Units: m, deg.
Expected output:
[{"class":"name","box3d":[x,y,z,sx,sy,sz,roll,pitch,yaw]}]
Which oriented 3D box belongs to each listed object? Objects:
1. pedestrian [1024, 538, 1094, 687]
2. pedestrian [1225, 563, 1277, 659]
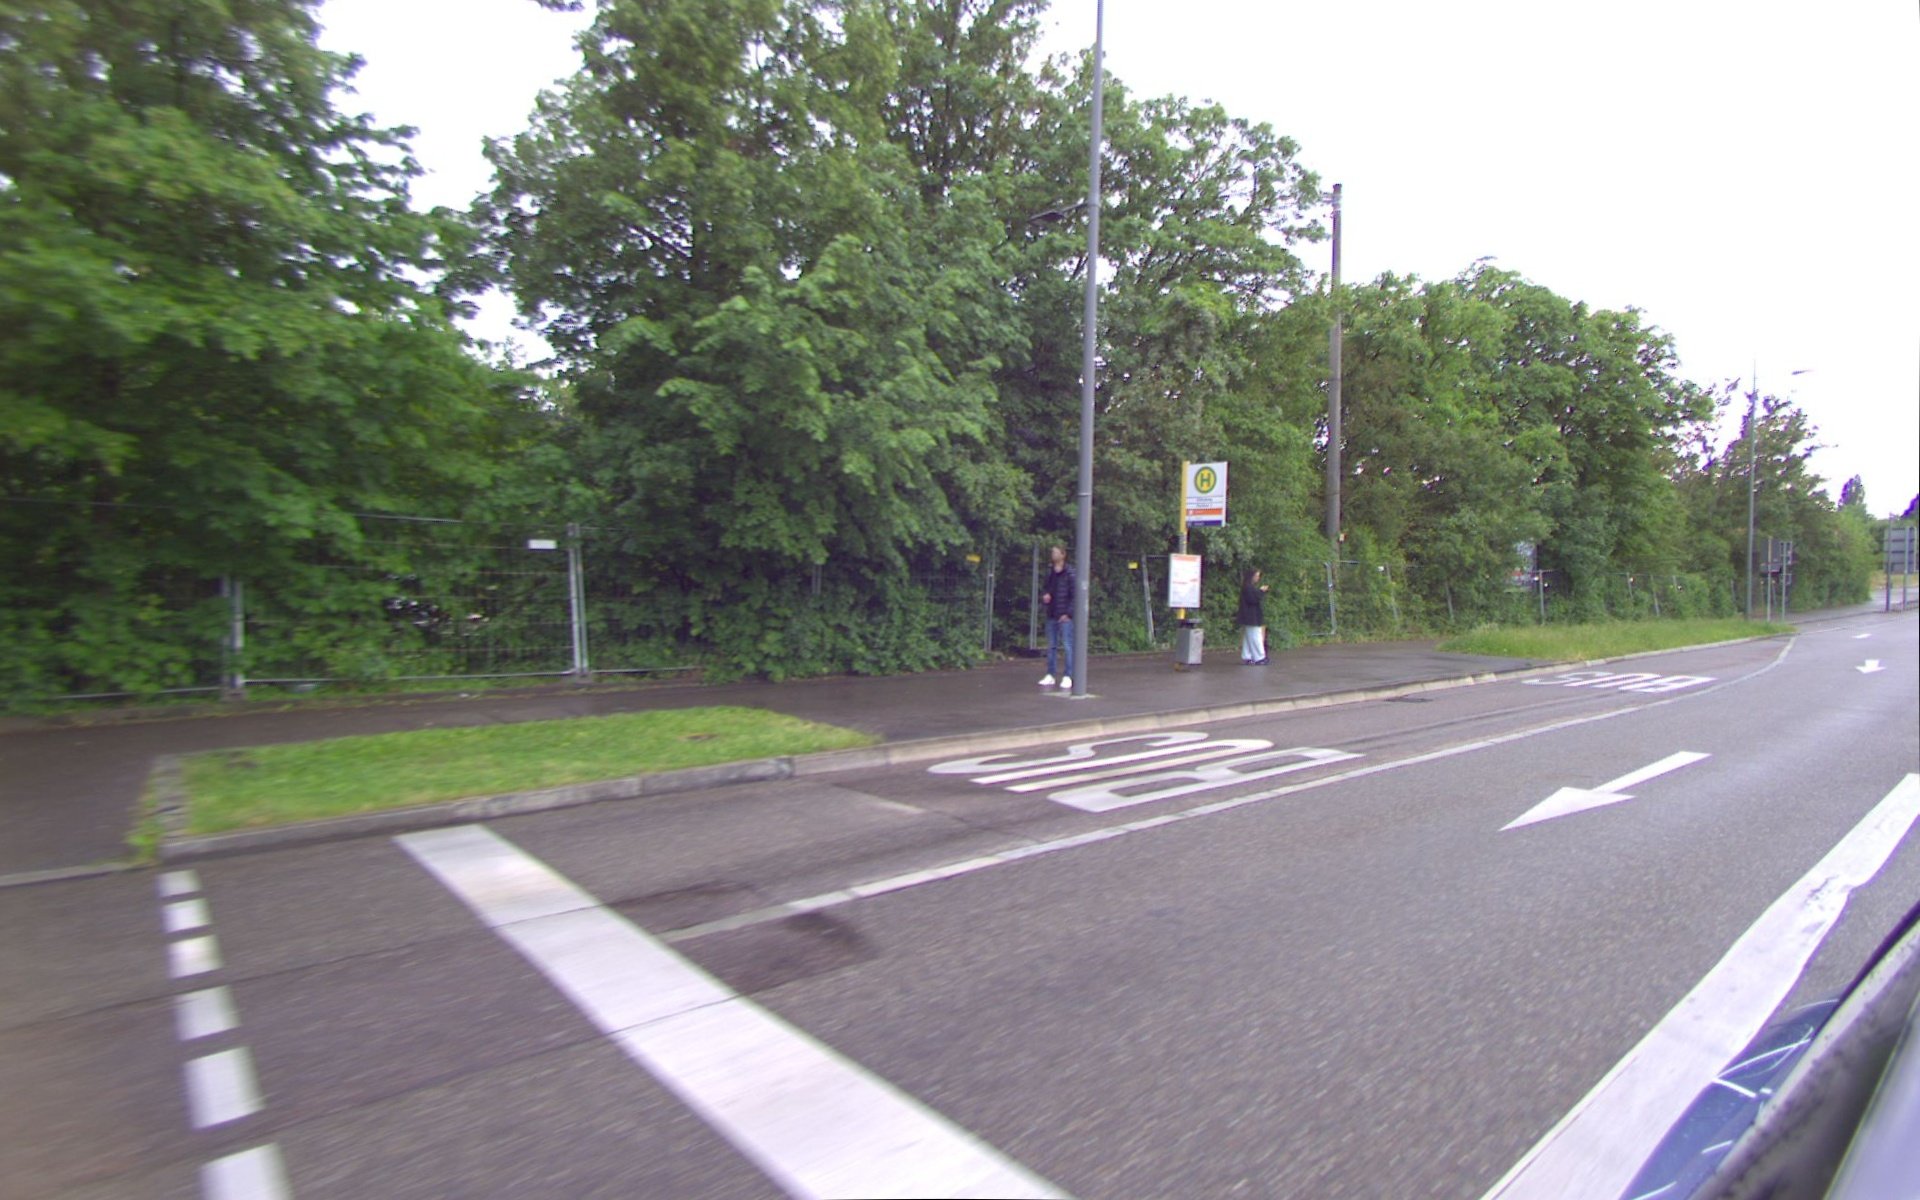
[{"class":"pedestrian","box3d":[1.364,0.153,13.953,0.587,1.973,0.742,0,1,-40]},{"class":"pedestrian","box3d":[5.133,0.172,17.851,0.650,1.648,0.588,0,1,-40]}]
